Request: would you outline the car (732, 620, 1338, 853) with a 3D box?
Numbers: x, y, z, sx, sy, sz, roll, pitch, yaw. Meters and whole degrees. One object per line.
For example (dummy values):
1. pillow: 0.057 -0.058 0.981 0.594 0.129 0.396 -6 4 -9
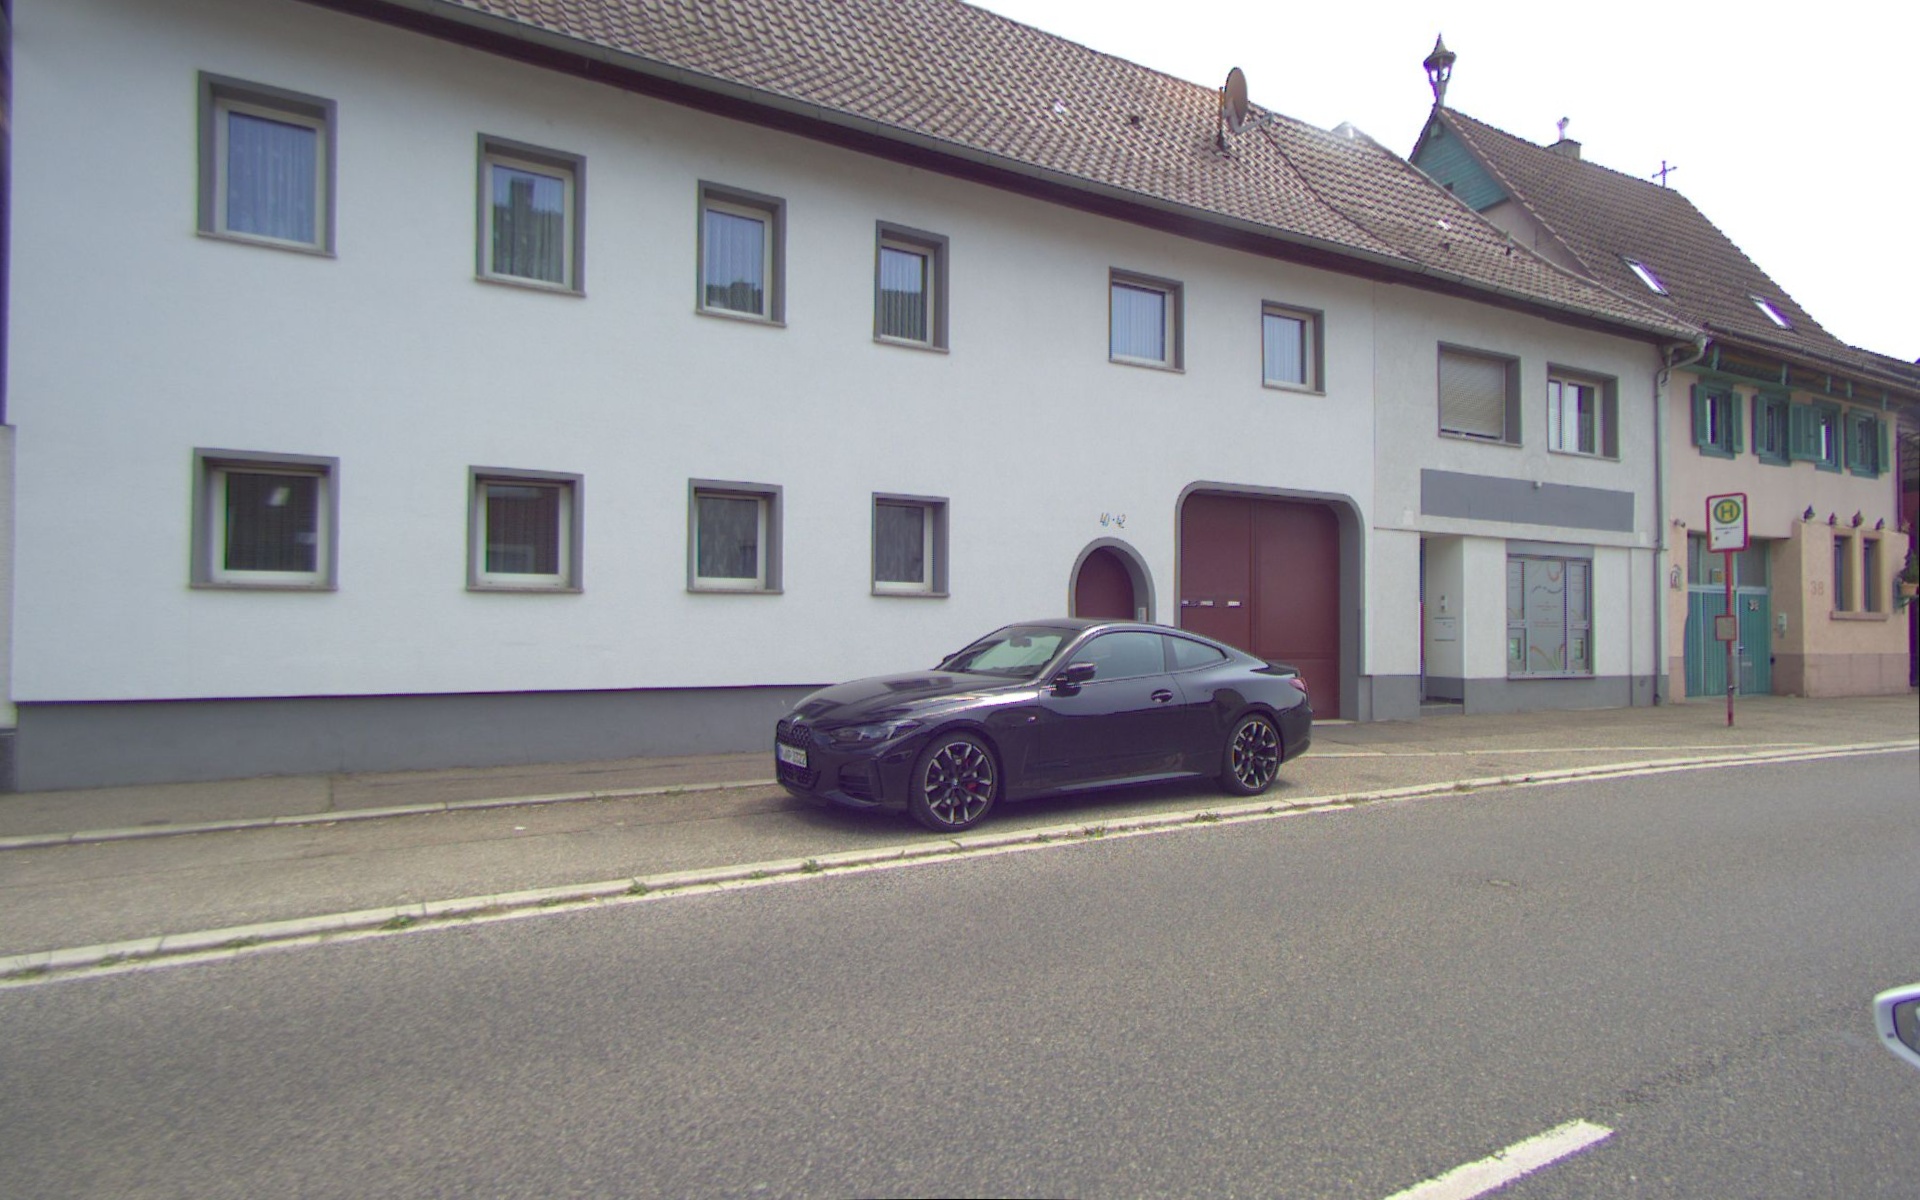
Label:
1. car: 0.743 0.855 8.011 4.702 1.367 1.756 1 0 -32
